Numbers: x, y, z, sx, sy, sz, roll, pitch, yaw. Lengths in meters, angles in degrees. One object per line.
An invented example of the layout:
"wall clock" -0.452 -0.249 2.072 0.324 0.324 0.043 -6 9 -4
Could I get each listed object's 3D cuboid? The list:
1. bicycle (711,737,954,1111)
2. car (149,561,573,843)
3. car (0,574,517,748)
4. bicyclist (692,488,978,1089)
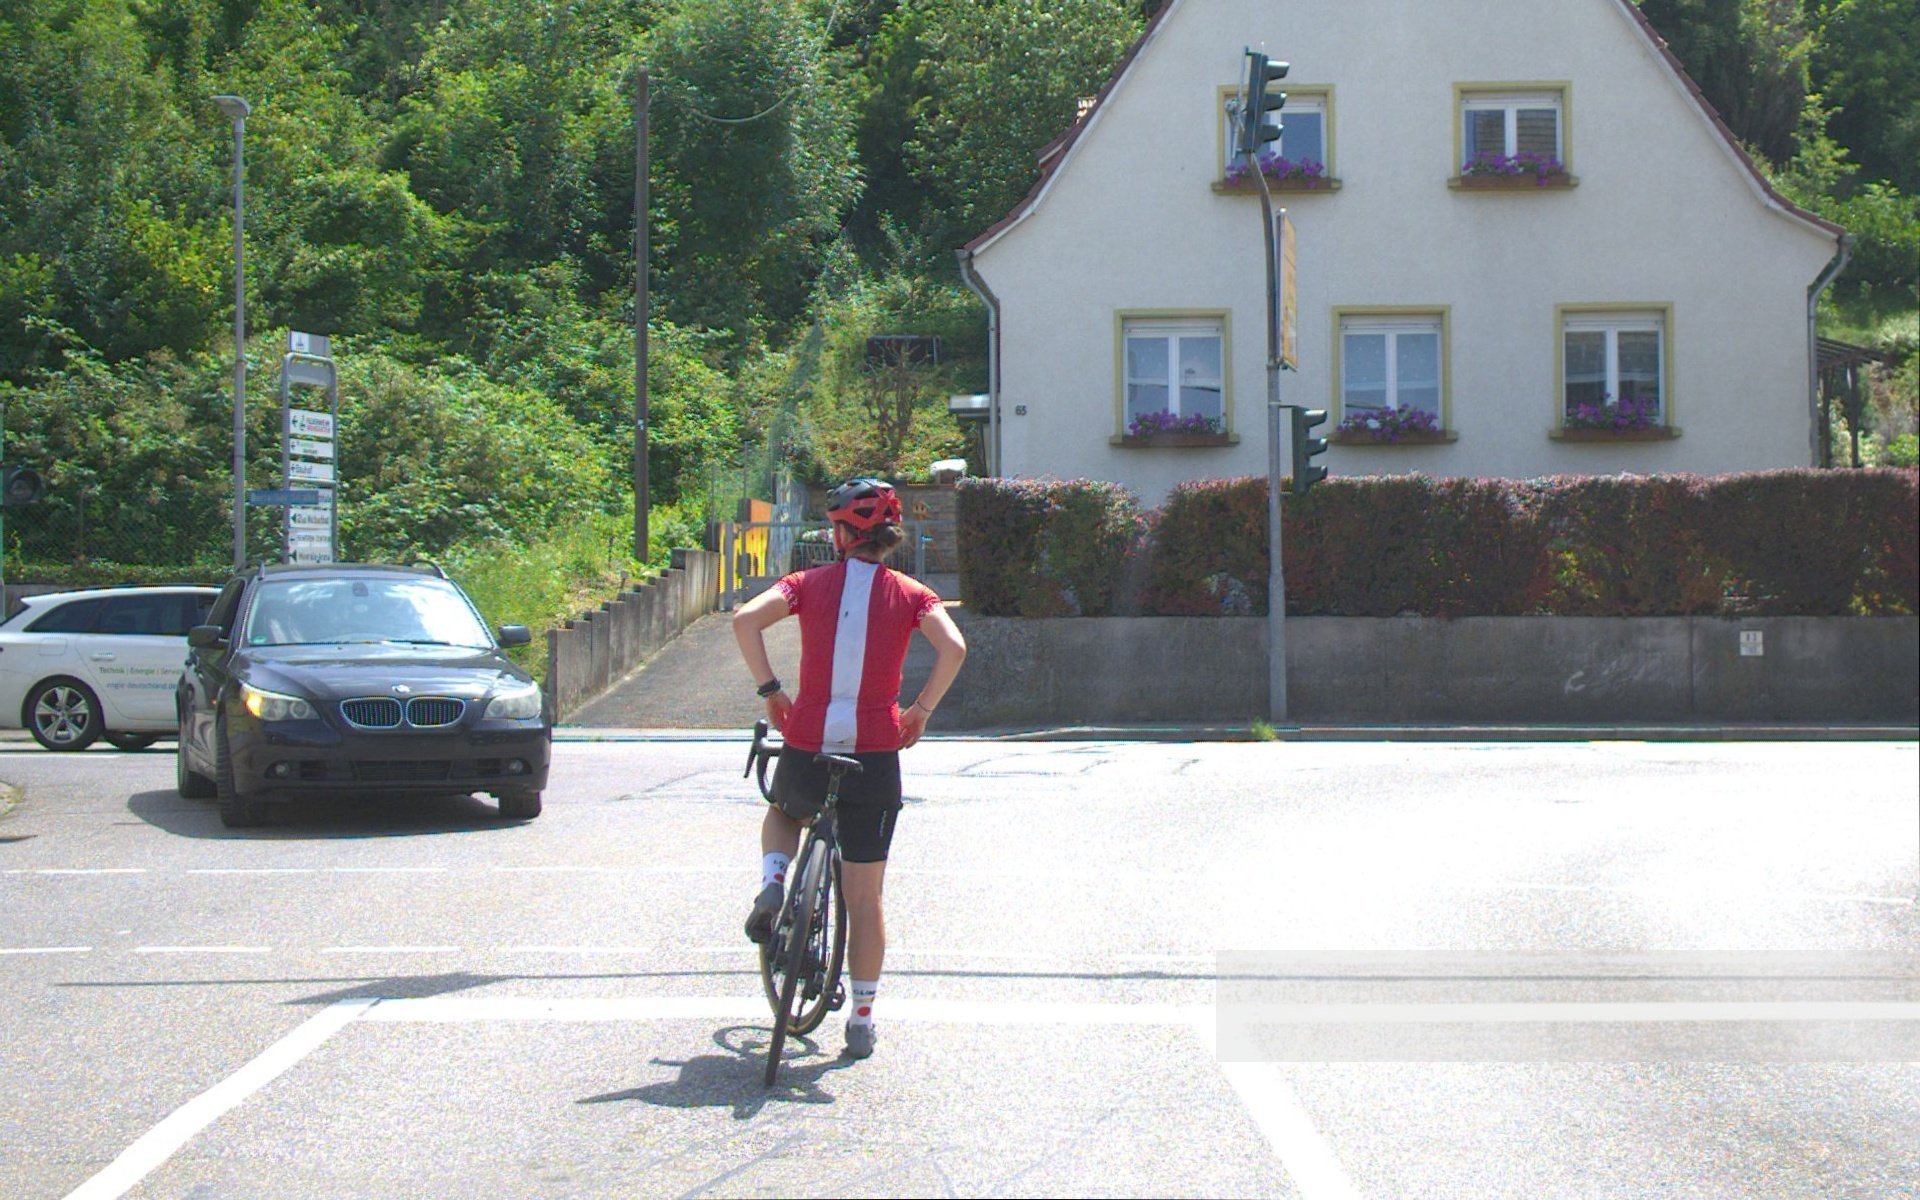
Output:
"bicycle" -0.353 0.899 10.006 0.630 0.902 1.657 1 1 -1
"car" -3.705 0.523 20.574 1.863 1.437 4.672 -2 1 -17
"car" -6.319 0.525 29.545 4.664 1.422 1.927 0 -2 6
"bicyclist" -0.354 0.521 10.007 0.760 1.659 0.869 1 0 -1
